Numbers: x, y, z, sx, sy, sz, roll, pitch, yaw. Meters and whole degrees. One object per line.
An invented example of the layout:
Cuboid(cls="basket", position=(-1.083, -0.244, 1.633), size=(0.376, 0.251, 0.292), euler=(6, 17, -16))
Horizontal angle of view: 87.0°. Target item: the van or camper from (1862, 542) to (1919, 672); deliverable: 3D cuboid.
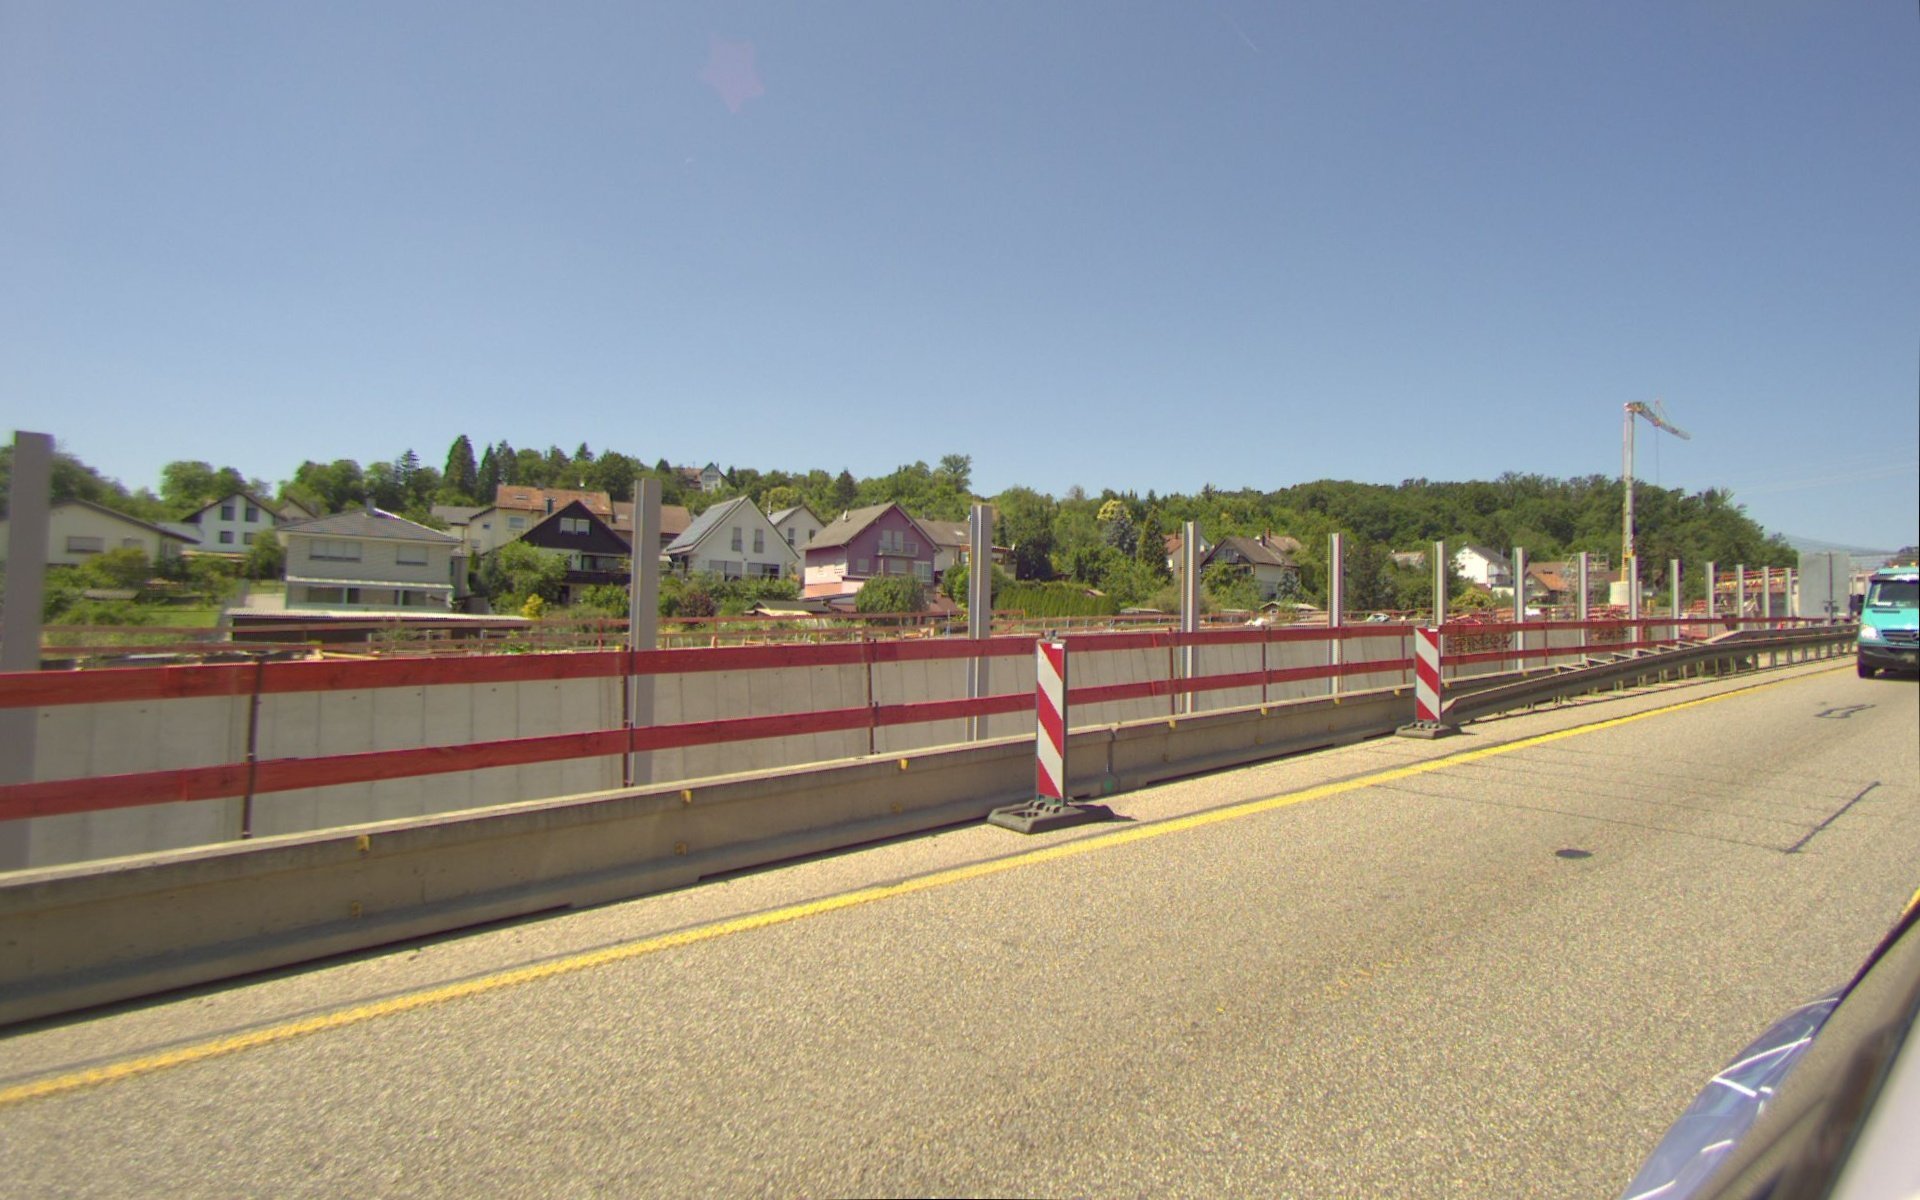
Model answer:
Cuboid(cls="van or camper", position=(21.427, 0.157, 21.777), size=(7.536, 2.504, 2.096), euler=(0, 0, -41))
